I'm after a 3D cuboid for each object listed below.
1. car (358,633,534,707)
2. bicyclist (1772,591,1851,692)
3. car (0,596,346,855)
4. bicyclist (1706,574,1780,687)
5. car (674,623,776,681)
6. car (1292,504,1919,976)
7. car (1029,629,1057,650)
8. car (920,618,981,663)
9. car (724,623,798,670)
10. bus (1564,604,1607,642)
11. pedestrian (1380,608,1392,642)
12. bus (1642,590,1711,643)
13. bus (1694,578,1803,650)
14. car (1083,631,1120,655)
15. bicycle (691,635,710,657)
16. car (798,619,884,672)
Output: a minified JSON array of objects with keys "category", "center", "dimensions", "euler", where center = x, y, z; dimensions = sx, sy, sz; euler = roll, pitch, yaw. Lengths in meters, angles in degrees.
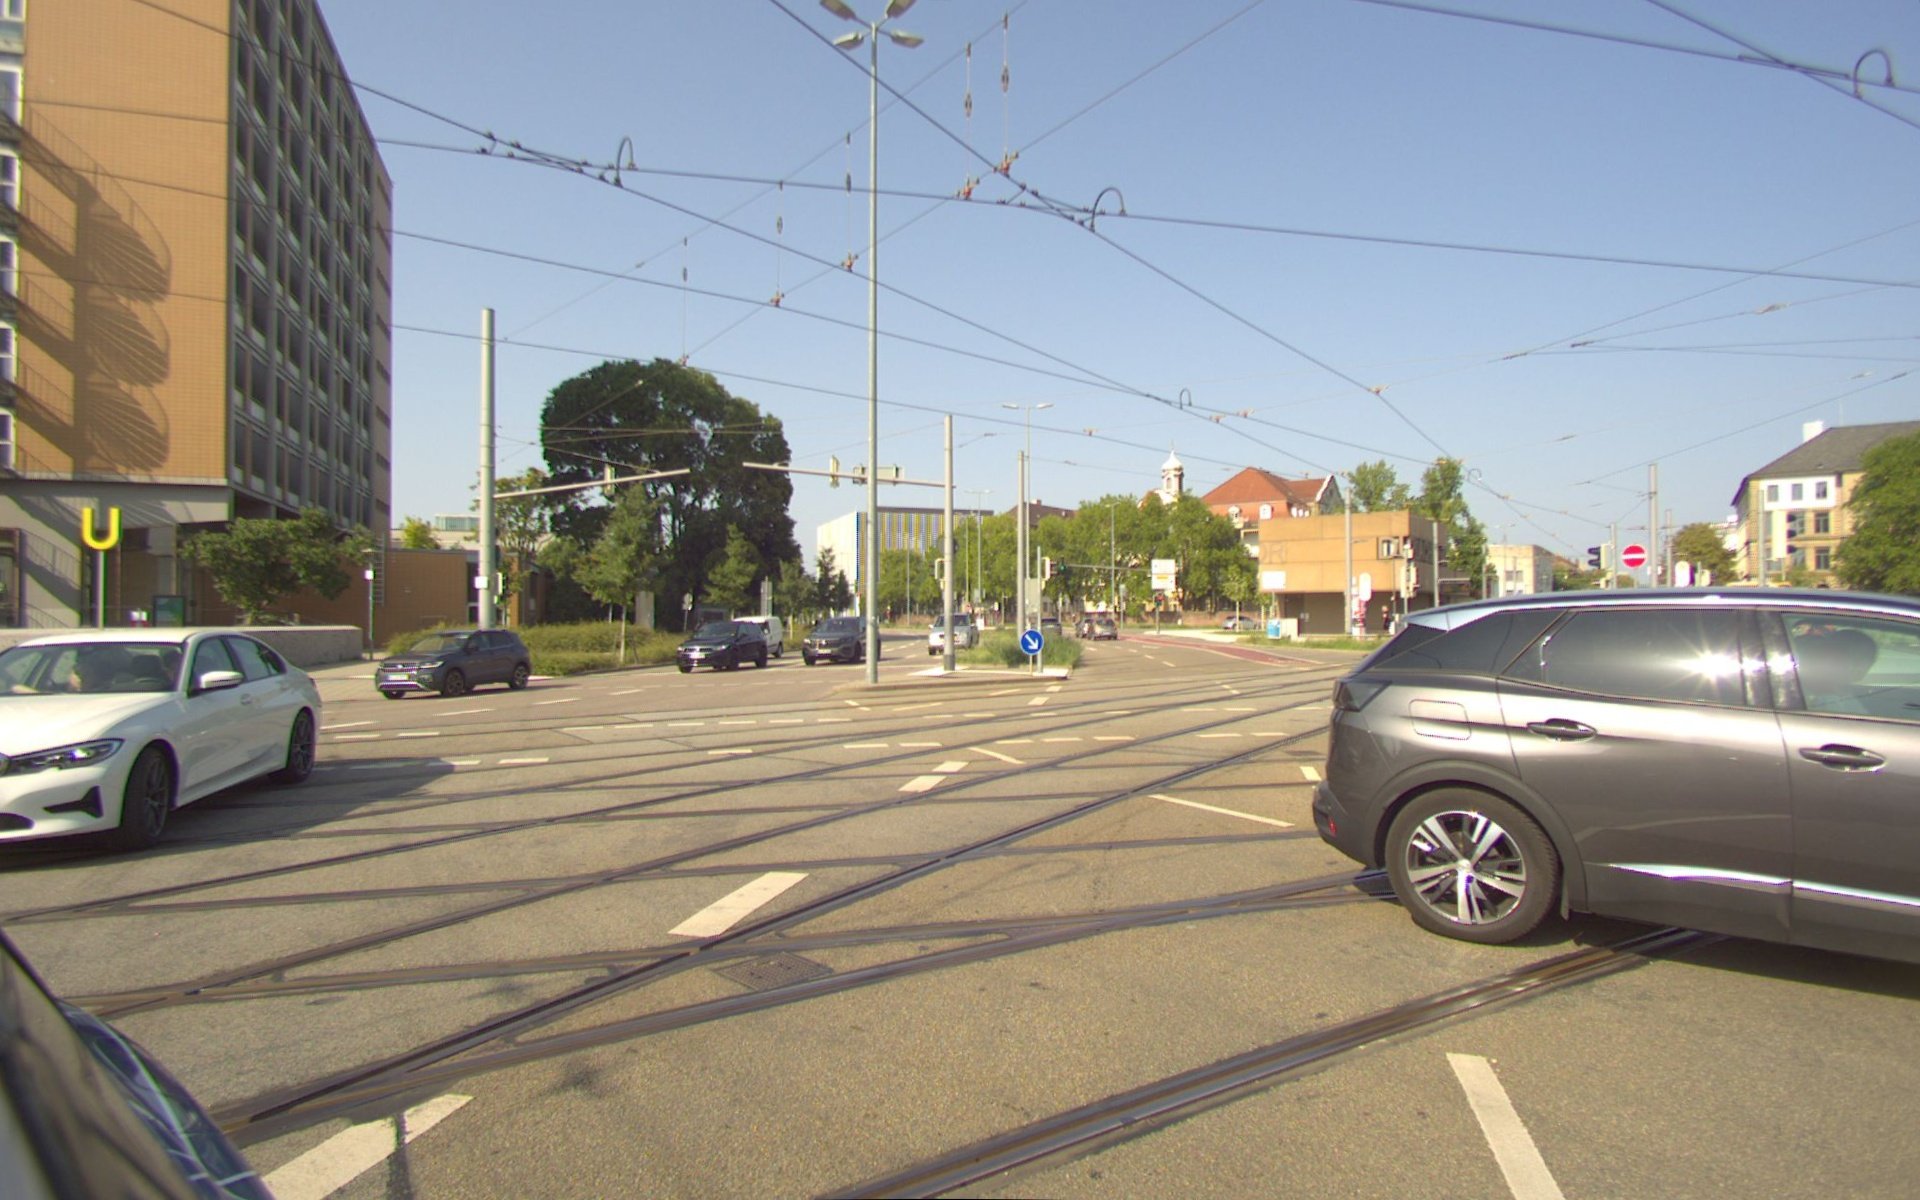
[{"category":"car","center":[-12.255,1.621,24.422],"dimensions":[1.726,1.594,3.961],"euler":[-2,-2,11]},{"category":"bicyclist","center":[14.131,0.680,16.803],"dimensions":[0.798,1.642,0.510],"euler":[-1,-2,8]},{"category":"car","center":[-6.558,0.794,7.826],"dimensions":[1.784,1.438,4.787],"euler":[-1,-2,-15]},{"category":"bicyclist","center":[14.046,0.548,18.180],"dimensions":[0.798,1.989,0.580],"euler":[-1,-2,7]},{"category":"car","center":[-7.736,1.687,33.698],"dimensions":[1.749,1.720,4.276],"euler":[-3,-2,10]},{"category":"car","center":[3.927,0.498,4.293],"dimensions":[4.354,1.633,1.973],"euler":[-2,-2,41]},{"category":"car","center":[5.938,2.793,72.700],"dimensions":[1.472,1.462,3.526],"euler":[-1,-2,-3]},{"category":"car","center":[-0.359,1.704,43.077],"dimensions":[1.929,1.720,4.279],"euler":[-3,-2,8]},{"category":"car","center":[-8.813,2.040,45.115],"dimensions":[1.775,1.901,4.276],"euler":[-3,-2,10]},{"category":"bus","center":[61.633,2.248,99.540],"dimensions":[3.216,3.445,13.164],"euler":[-2,-2,33]},{"category":"pedestrian","center":[22.147,1.291,52.605],"dimensions":[0.403,1.782,0.552],"euler":[-2,-2,38]},{"category":"bus","center":[47.598,1.200,67.543],"dimensions":[3.216,3.203,13.164],"euler":[-2,-2,33]},{"category":"bus","center":[39.955,0.779,51.731],"dimensions":[3.216,3.203,13.164],"euler":[-2,-2,33]},{"category":"car","center":[9.407,2.834,67.551],"dimensions":[1.756,1.519,4.002],"euler":[-1,-2,-3]},{"category":"bicycle","center":[-14.320,2.517,55.888],"dimensions":[0.397,1.203,1.768],"euler":[-1,-2,8]},{"category":"car","center":[-4.238,1.625,36.732],"dimensions":[1.905,1.720,4.276],"euler":[-3,-2,10]}]
